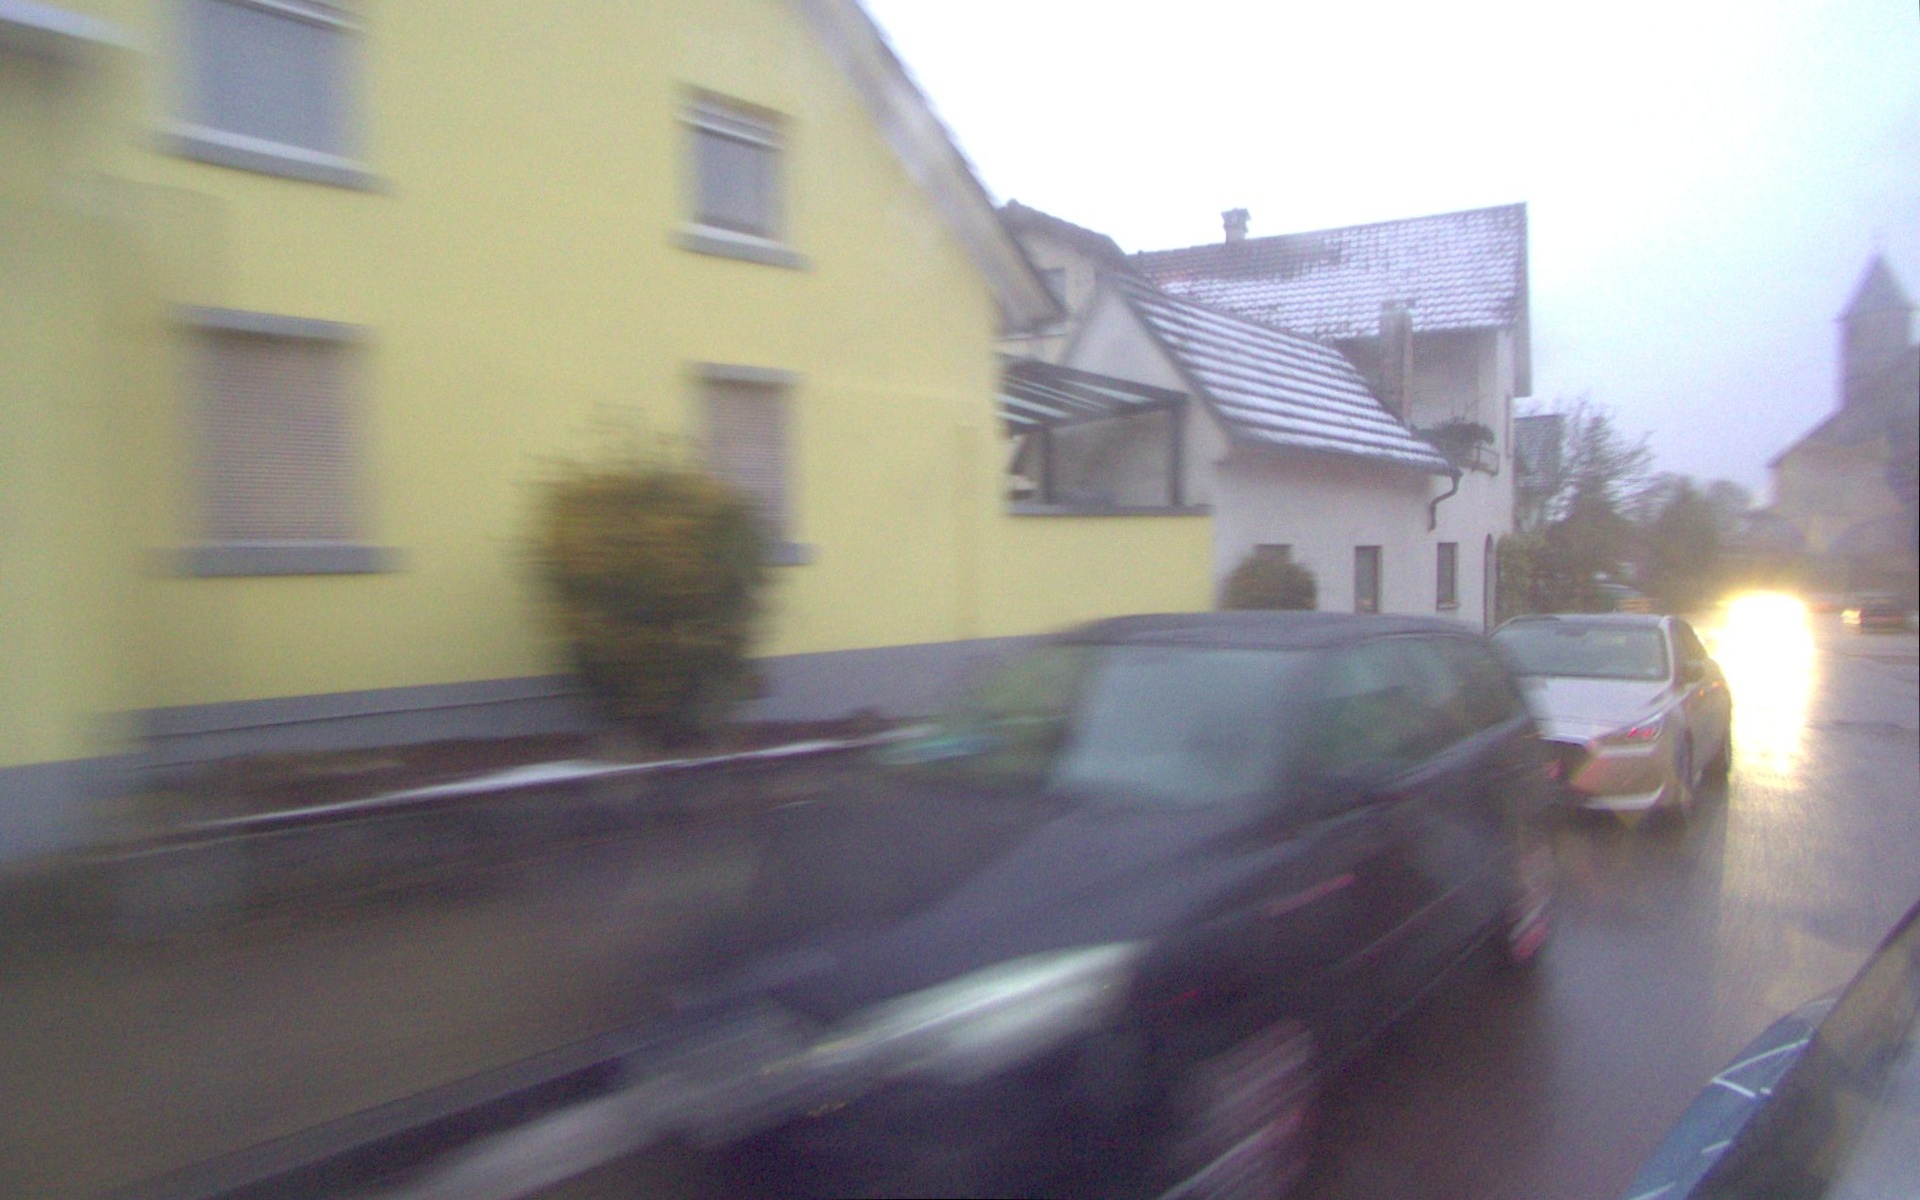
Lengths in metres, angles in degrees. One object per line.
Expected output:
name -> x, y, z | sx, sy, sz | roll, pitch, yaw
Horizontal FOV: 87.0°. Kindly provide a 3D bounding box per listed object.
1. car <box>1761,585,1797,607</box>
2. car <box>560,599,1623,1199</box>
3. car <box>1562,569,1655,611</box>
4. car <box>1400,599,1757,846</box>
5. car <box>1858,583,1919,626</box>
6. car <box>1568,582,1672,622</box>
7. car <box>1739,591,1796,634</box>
car -> 60.762, -0.305, 75.038 | 1.759, 1.516, 3.938 | -1, 0, 43
car -> 1.111, 0.751, 3.959 | 1.726, 1.449, 4.724 | 0, 1, 43
car -> 33.153, -0.508, 51.874 | 3.969, 2.039, 1.978 | 0, 1, 32
car -> 5.412, 0.752, 8.539 | 1.789, 1.457, 4.553 | 0, 1, 42
car -> 37.970, 0.152, 41.138 | 1.990, 1.649, 3.943 | 0, 1, 39
car -> 30.629, 0.062, 47.105 | 3.969, 1.816, 1.978 | 0, 1, 32
car -> 39.752, 0.569, 49.891 | 1.987, 2.039, 3.949 | 0, 1, 35
